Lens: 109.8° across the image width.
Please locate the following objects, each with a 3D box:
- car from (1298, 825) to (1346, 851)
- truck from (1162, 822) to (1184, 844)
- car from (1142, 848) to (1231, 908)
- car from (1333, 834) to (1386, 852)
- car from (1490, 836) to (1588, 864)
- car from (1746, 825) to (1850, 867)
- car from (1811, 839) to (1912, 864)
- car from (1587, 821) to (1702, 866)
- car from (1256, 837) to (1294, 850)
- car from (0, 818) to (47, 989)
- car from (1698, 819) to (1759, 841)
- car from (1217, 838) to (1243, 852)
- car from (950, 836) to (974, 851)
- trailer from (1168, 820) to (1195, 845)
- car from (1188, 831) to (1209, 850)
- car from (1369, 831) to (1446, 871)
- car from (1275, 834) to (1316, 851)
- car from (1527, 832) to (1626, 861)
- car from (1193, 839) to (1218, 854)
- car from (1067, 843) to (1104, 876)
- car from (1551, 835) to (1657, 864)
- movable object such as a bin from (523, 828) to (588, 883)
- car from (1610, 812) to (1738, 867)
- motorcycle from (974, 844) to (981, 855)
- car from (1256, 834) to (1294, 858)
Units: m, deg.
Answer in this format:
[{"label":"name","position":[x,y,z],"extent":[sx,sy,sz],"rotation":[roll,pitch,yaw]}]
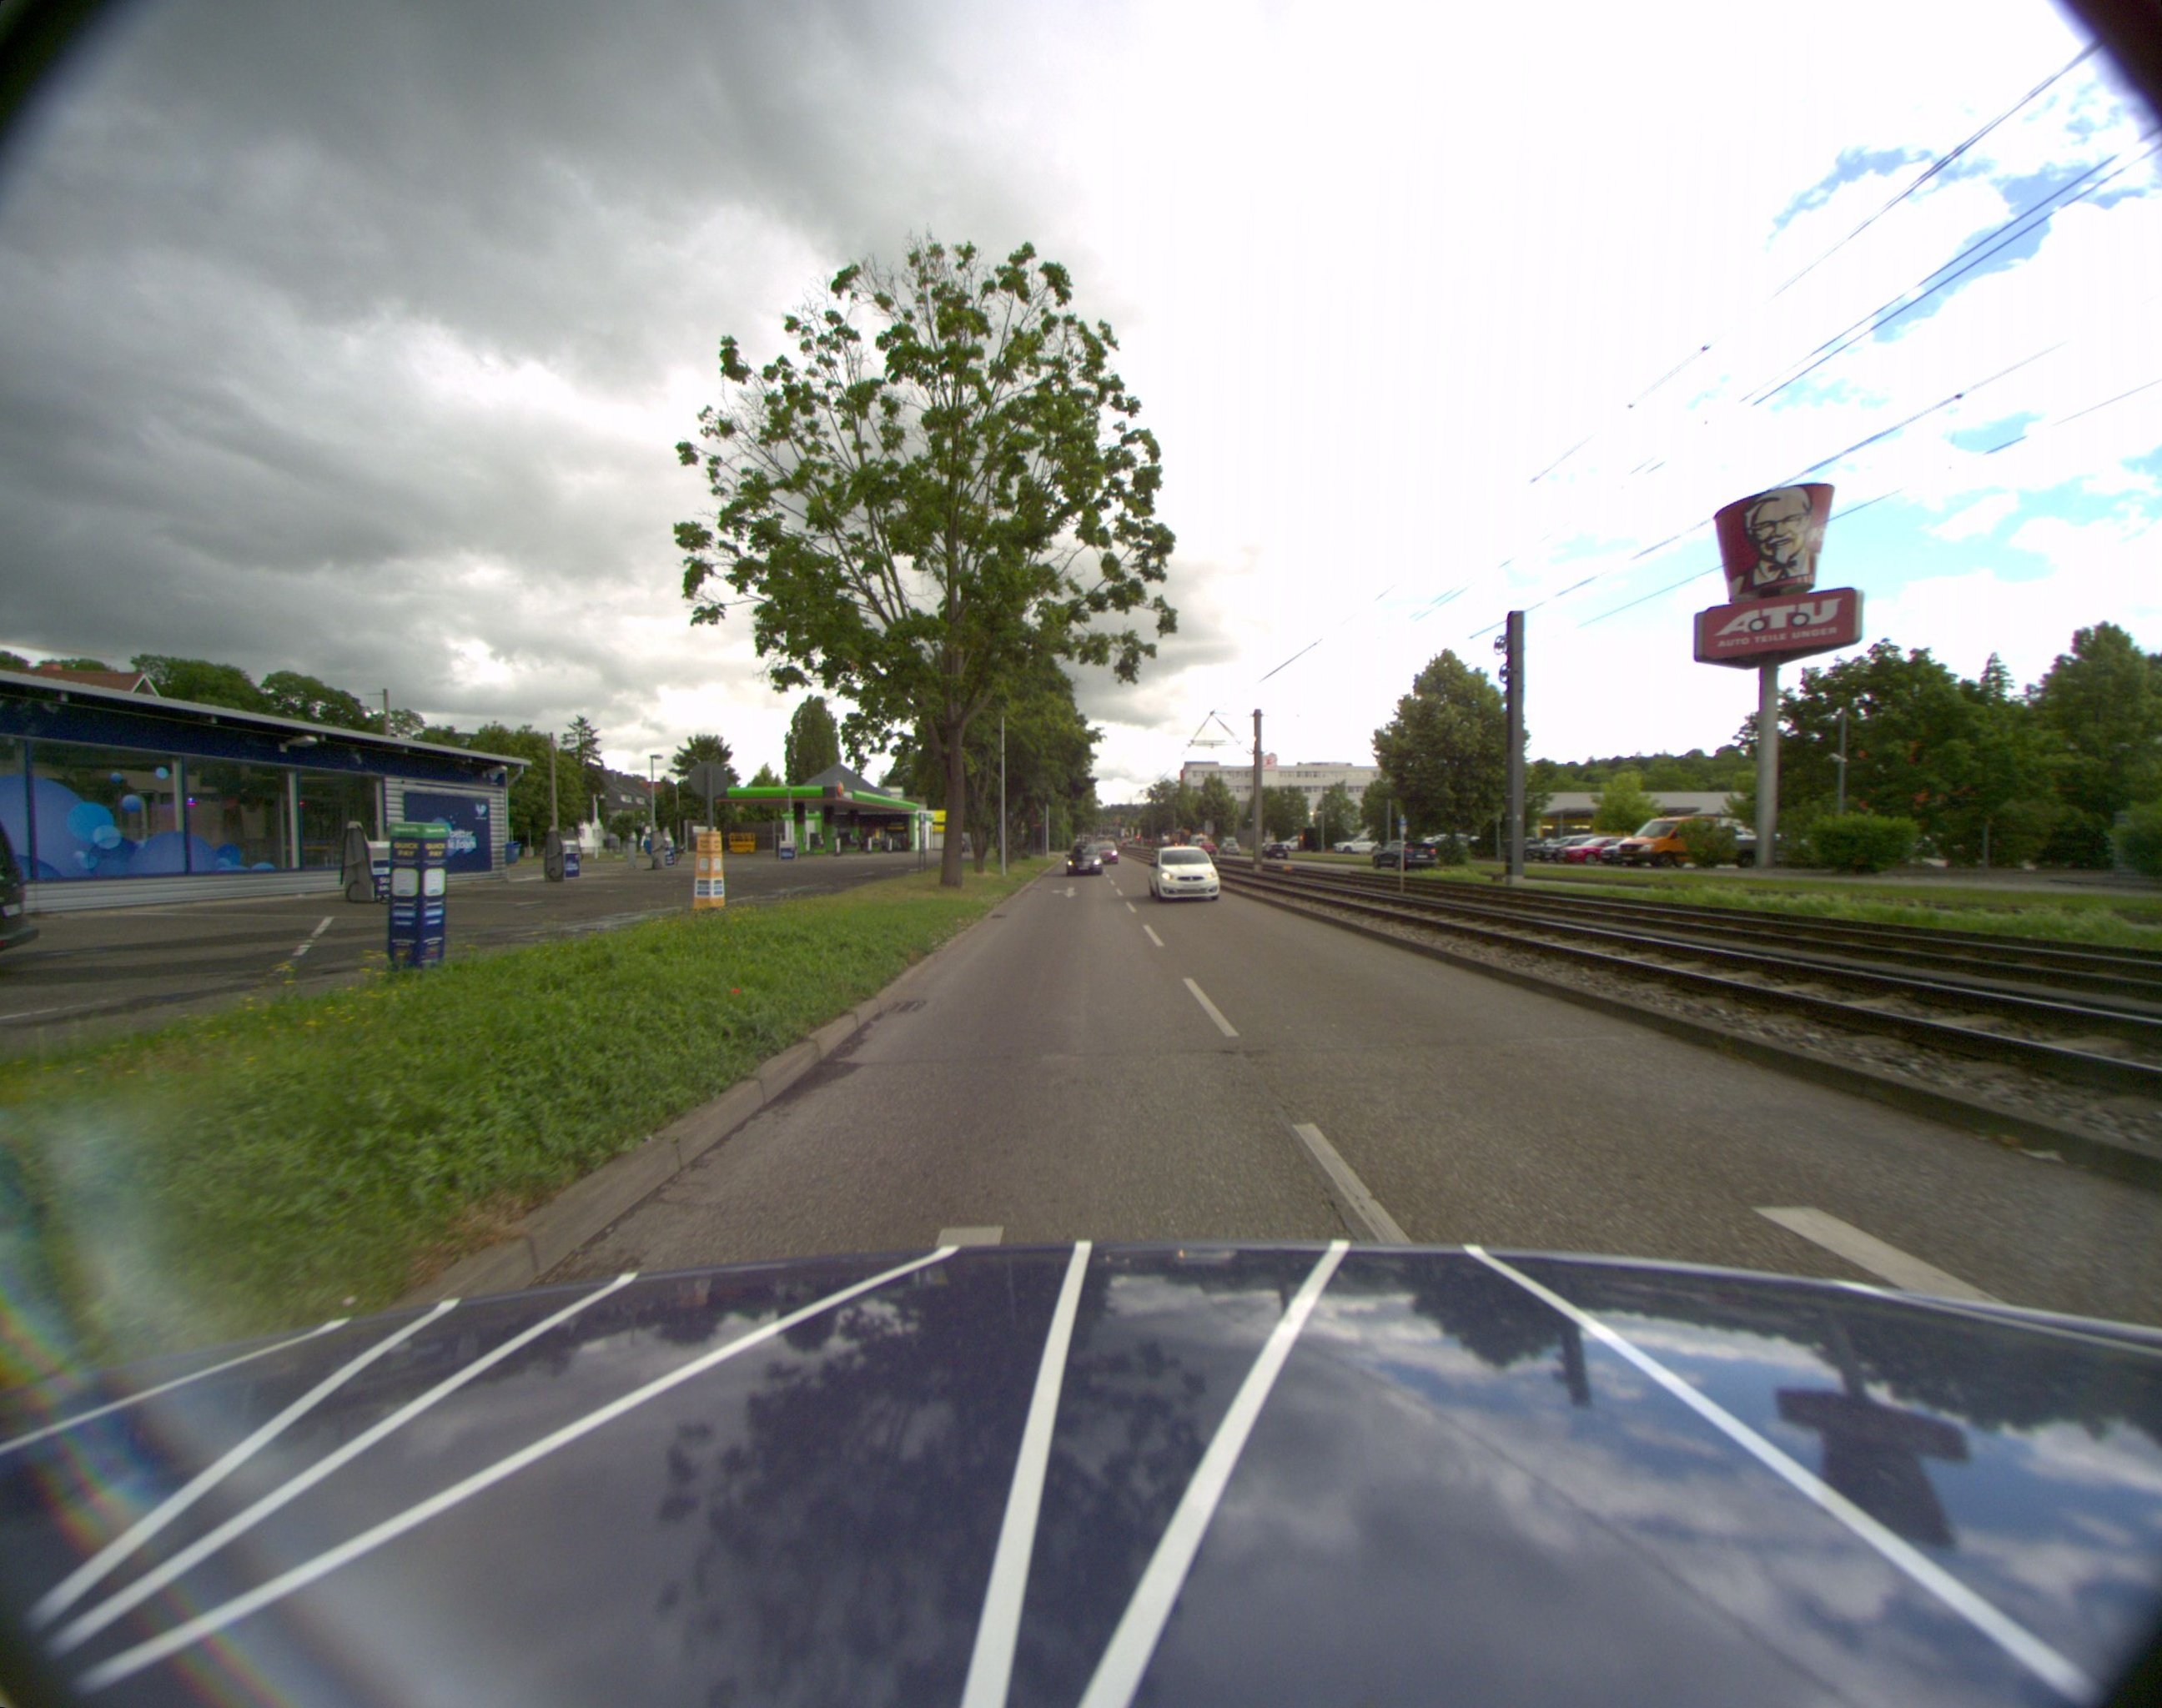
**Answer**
[{"label":"car","position":[26.218,-1.726,82.778],"extent":[4.481,2.733,2.288],"rotation":[0,2,0]},{"label":"truck","position":[17.072,-3.807,141.397],"extent":[2.899,3.944,8.629],"rotation":[0,1,0]},{"label":"car","position":[2.908,0.606,21.720],"extent":[1.786,1.436,3.998],"rotation":[-3,1,-2]},{"label":"car","position":[26.938,-1.086,73.606],"extent":[4.482,1.498,1.794],"rotation":[-3,1,-3]},{"label":"car","position":[26.588,-0.241,44.208],"extent":[4.385,1.346,2.195],"rotation":[-3,1,0]},{"label":"car","position":[38.324,-0.438,40.686],"extent":[3.738,2.002,1.951],"rotation":[-3,1,-2]},{"label":"car","position":[44.187,-0.130,43.076],"extent":[3.738,1.381,1.951],"rotation":[0,1,-2]},{"label":"car","position":[26.996,-0.528,36.513],"extent":[3.997,1.907,1.999],"rotation":[-3,1,0]},{"label":"car","position":[25.942,-1.446,101.764],"extent":[4.611,1.484,2.000],"rotation":[-3,1,3]},{"label":"car","position":[-13.514,0.543,7.022],"extent":[4.393,1.811,1.746],"rotation":[-1,1,-42]},{"label":"car","position":[54.335,-2.010,63.802],"extent":[3.738,1.613,1.722],"rotation":[-3,1,-2]},{"label":"car","position":[16.609,-1.001,84.620],"extent":[1.999,1.474,3.999],"rotation":[2,1,-1]},{"label":"car","position":[-14.266,-1.265,91.281],"extent":[1.998,1.629,4.326],"rotation":[2,1,1]},{"label":"trailer","position":[17.045,-3.600,129.883],"extent":[2.678,3.875,14.422],"rotation":[1,1,0]},{"label":"car","position":[16.670,-1.927,107.760],"extent":[1.874,2.485,5.998],"rotation":[1,1,-1]},{"label":"car","position":[17.125,-0.186,40.049],"extent":[1.999,2.002,4.245],"rotation":[0,1,-4]},{"label":"car","position":[26.042,-1.414,92.318],"extent":[4.355,1.908,2.000],"rotation":[-3,1,3]},{"label":"car","position":[27.005,-0.429,41.501],"extent":[3.997,1.359,2.093],"rotation":[-3,1,0]},{"label":"car","position":[13.409,-0.861,82.134],"extent":[1.788,1.573,4.480],"rotation":[1,1,-3]},{"label":"car","position":[0.225,0.240,39.579],"extent":[1.786,1.614,3.999],"rotation":[-1,1,0]},{"label":"car","position":[26.704,-0.248,38.887],"extent":[3.997,1.229,1.999],"rotation":[-3,1,0]},{"label":"movable object such as a bin","position":[-17.639,0.045,25.541],"extent":[1.161,1.808,1.454],"rotation":[0,1,-4]},{"label":"car","position":[26.182,-0.629,33.661],"extent":[3.997,2.153,2.058],"rotation":[-3,1,0]},{"label":"motorcycle","position":[-11.635,-0.521,85.751],"extent":[0.704,1.180,2.387],"rotation":[0,1,-6]},{"label":"car","position":[16.866,-0.699,66.099],"extent":[1.999,2.002,3.998],"rotation":[1,1,-4]}]
